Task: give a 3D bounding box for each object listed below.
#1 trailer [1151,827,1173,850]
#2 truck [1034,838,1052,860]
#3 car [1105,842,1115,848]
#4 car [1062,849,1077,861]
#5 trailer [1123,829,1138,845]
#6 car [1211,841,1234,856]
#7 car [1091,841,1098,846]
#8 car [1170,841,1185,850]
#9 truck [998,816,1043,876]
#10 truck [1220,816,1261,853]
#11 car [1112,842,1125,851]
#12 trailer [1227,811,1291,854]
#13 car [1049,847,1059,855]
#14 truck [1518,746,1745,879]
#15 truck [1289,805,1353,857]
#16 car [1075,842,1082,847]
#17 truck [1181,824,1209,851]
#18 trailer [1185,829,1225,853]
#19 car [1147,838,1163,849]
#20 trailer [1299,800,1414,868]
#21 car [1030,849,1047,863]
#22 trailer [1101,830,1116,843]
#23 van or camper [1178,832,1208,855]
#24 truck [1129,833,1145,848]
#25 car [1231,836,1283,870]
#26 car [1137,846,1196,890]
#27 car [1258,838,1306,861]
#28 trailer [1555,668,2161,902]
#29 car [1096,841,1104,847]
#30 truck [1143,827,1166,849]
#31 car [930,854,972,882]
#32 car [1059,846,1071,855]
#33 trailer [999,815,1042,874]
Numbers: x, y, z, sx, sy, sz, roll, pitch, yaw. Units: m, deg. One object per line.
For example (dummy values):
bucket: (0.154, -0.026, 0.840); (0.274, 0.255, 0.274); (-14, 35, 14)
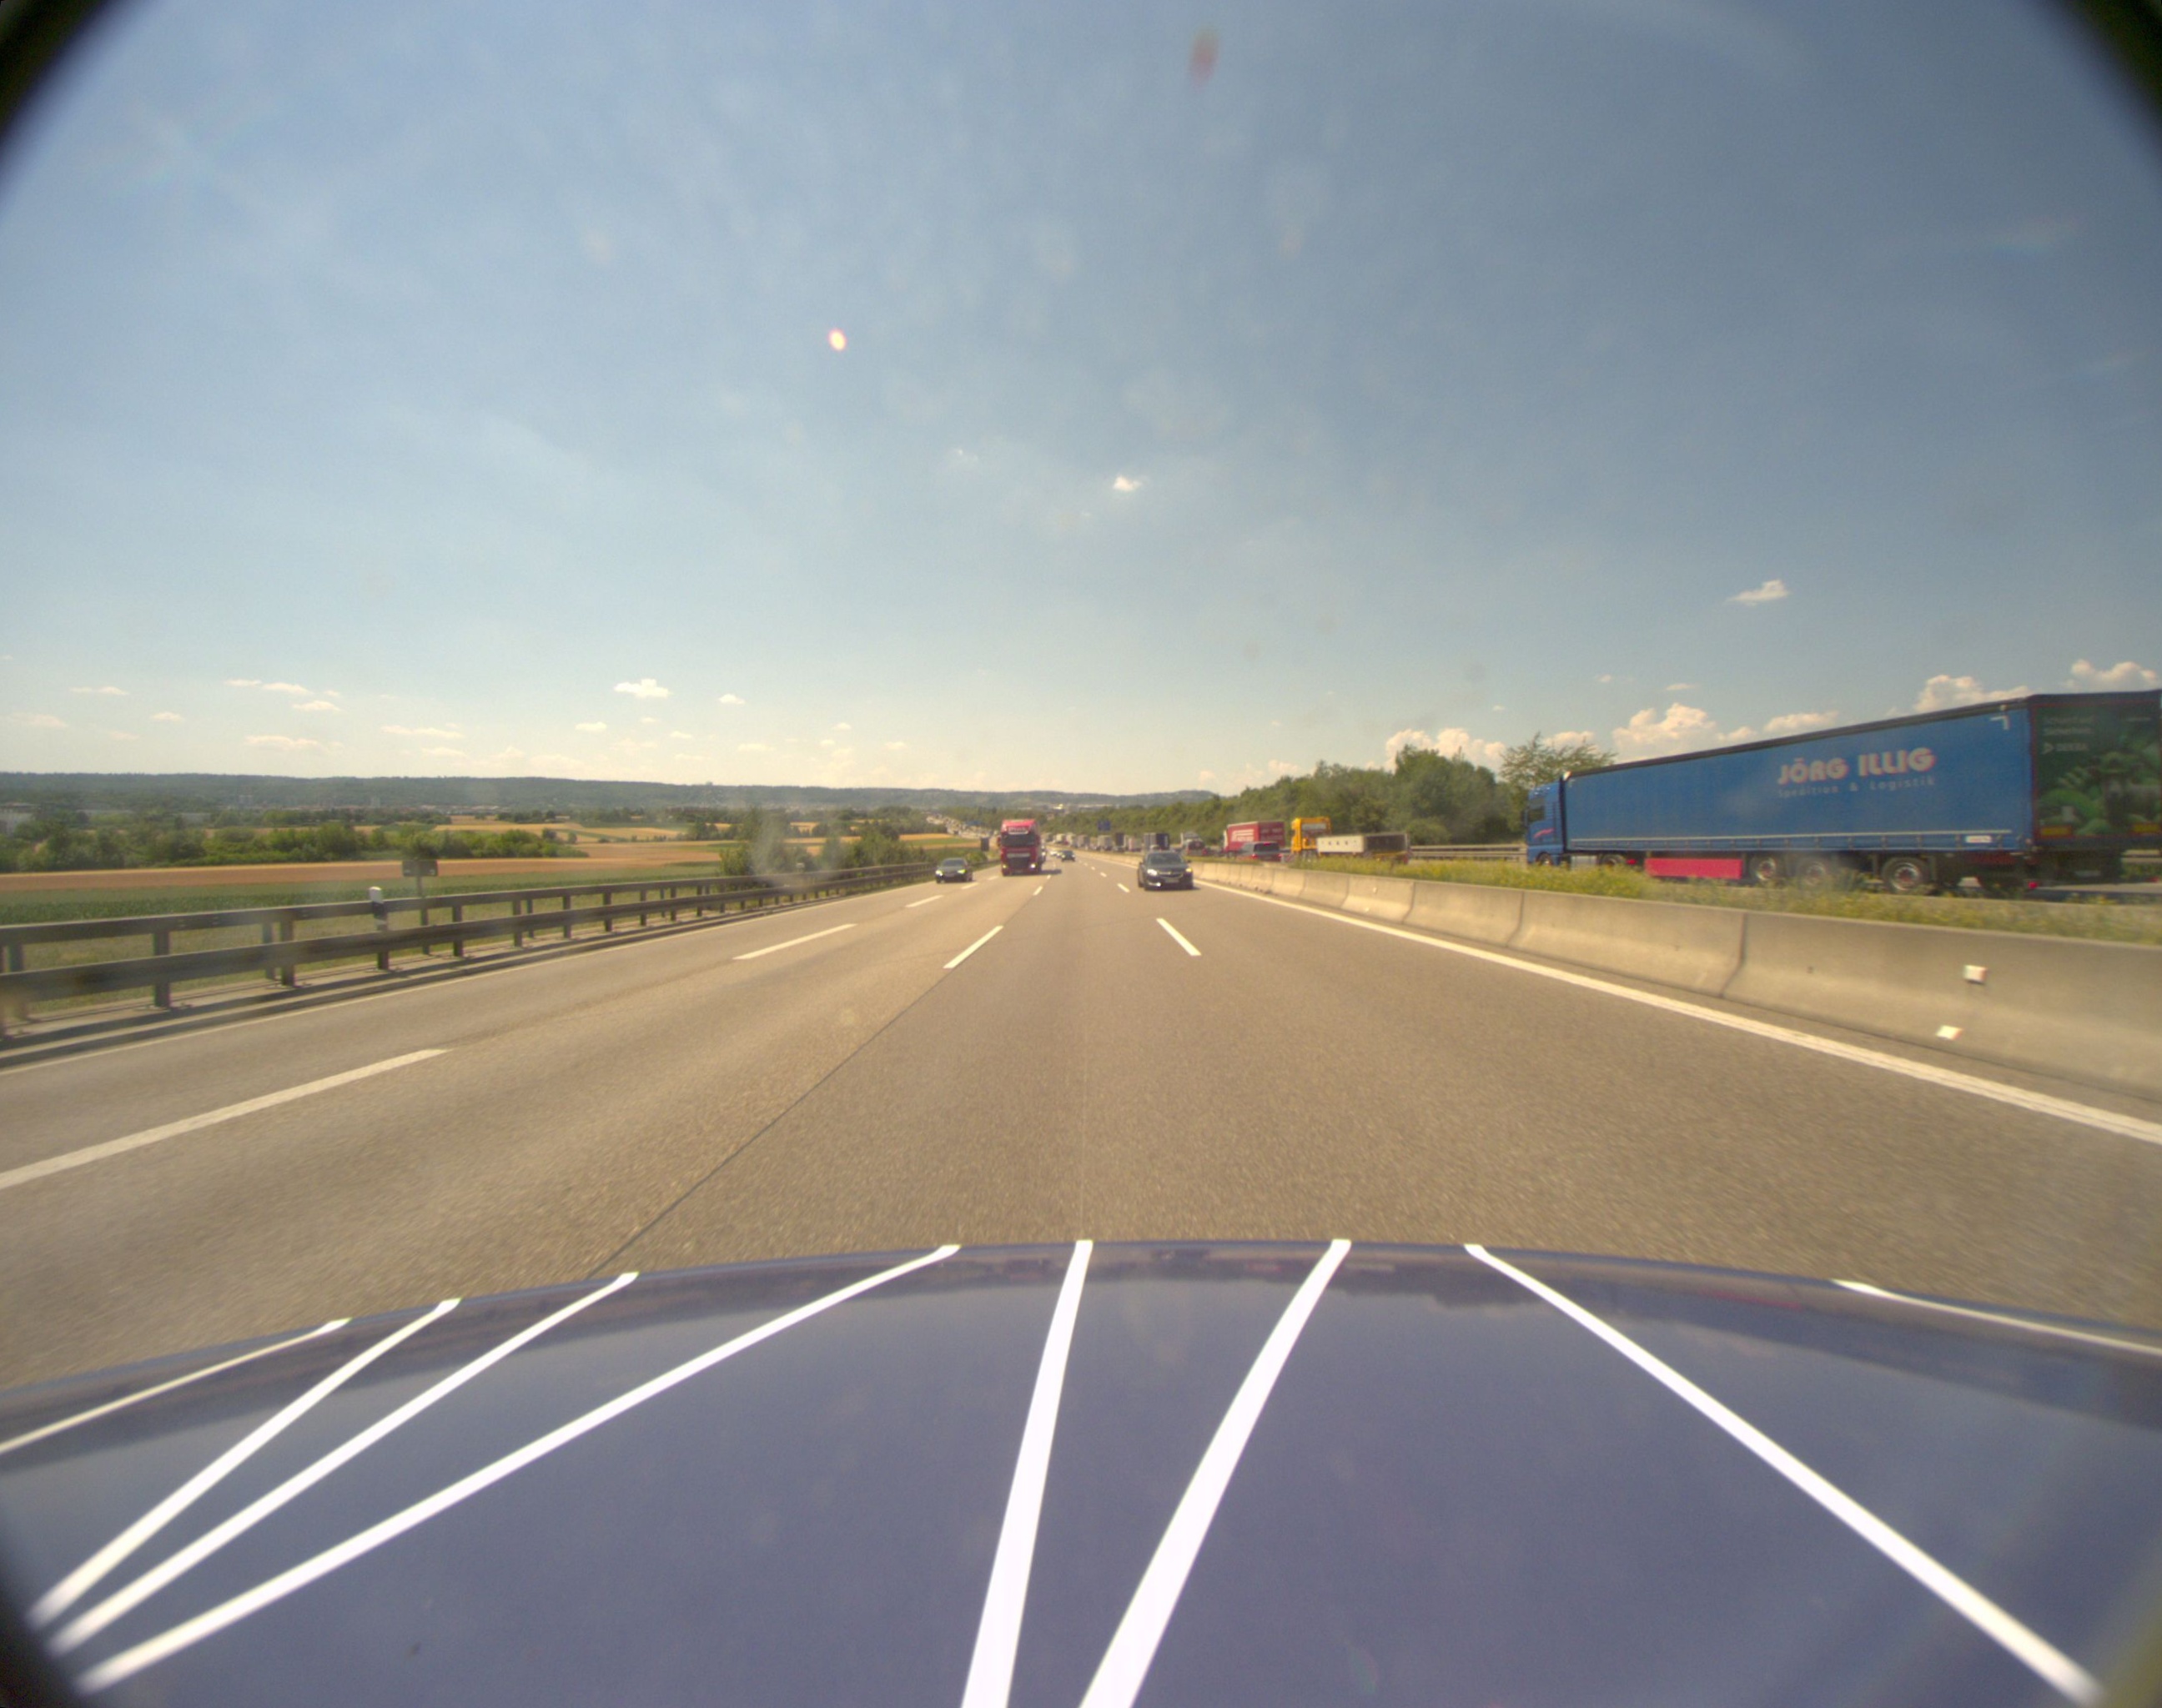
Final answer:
trailer: (15.541, -3.018, 146.298); (2.994, 4.169, 8.591); (-2, 1, -3)
truck: (-5.967, -0.870, 119.092); (2.446, 3.012, 6.910); (-3, 3, -4)
car: (7.863, -2.383, 206.428); (1.999, 1.519, 4.770); (-3, 1, -4)
car: (-1.598, 0.128, 107.270); (1.866, 1.426, 3.996); (-2, 3, -4)
trailer: (12.646, -4.293, 195.291); (2.928, 4.049, 8.226); (-1, 1, -2)
car: (17.931, -0.695, 96.300); (1.843, 1.622, 4.601); (-3, 3, -3)
car: (3.867, -2.992, 218.329); (1.843, 1.278, 4.870); (-3, 3, -3)
car: (16.169, -1.428, 127.985); (1.661, 1.423, 4.646); (-2, 1, -3)
truck: (-4.432, -0.644, 56.051); (2.925, 3.986, 6.506); (-3, 2, -5)
truck: (18.368, -2.232, 87.805); (3.043, 4.058, 6.312); (-3, 1, -1)
car: (7.583, -1.473, 153.626); (2.054, 1.686, 5.253); (-3, 1, -3)
trailer: (18.495, -2.170, 80.316); (3.094, 4.077, 14.377); (-3, 1, -1)
car: (-5.895, -0.643, 167.740); (1.999, 1.468, 3.996); (-3, 3, -4)
truck: (19.317, -1.347, 27.362); (3.084, 4.066, 6.934); (-3, 1, 0)
truck: (19.100, -1.780, 60.877); (2.758, 3.815, 7.097); (-3, 1, 0)
car: (-1.010, -3.110, 256.001); (1.999, 1.519, 4.770); (-3, 1, -4)
truck: (17.249, -2.489, 115.047); (2.909, 3.854, 6.175); (-3, 1, -3)
trailer: (17.538, -1.848, 108.354); (2.866, 3.187, 12.777); (-3, 1, -3)
car: (12.663, -1.824, 129.991); (1.919, 1.762, 4.760); (-3, 1, -3)
trailer: (19.104, -1.324, 54.182); (2.960, 4.077, 14.379); (-3, 1, 0)
car: (-5.775, 0.286, 102.858); (1.838, 1.636, 4.168); (-3, 3, -7)
trailer: (8.519, -5.494, 238.111); (2.911, 4.063, 14.434); (-2, 2, -5)
van or camper: (13.893, -1.301, 94.672); (2.317, 2.572, 7.140); (-3, 1, -1)
truck: (13.258, -3.213, 181.336); (2.546, 3.189, 7.584); (-3, 1, -4)
car: (11.069, -0.099, 48.225); (1.918, 1.959, 5.445); (-3, 1, -1)
car: (3.284, 0.495, 30.025); (1.807, 1.534, 4.749); (-2, 0, 1)
car: (14.729, -0.361, 55.979); (1.918, 1.532, 5.741); (-3, 1, -1)
trailer: (19.233, -1.389, 21.097); (3.169, 4.170, 14.378); (-3, 1, 1)
car: (4.899, -2.622, 195.634); (1.843, 1.574, 4.552); (-3, 1, -3)
truck: (15.044, -3.219, 156.001); (3.009, 4.210, 10.728); (-2, 1, -3)
car: (-7.734, 0.814, 45.671); (2.037, 1.543, 3.998); (-2, 1, -4)
car: (-3.051, -0.675, 140.975); (1.866, 1.322, 3.996); (-2, 3, -6)
trailer: (-4.886, -0.867, 62.193); (2.927, 4.094, 13.848); (-3, 2, -4)
